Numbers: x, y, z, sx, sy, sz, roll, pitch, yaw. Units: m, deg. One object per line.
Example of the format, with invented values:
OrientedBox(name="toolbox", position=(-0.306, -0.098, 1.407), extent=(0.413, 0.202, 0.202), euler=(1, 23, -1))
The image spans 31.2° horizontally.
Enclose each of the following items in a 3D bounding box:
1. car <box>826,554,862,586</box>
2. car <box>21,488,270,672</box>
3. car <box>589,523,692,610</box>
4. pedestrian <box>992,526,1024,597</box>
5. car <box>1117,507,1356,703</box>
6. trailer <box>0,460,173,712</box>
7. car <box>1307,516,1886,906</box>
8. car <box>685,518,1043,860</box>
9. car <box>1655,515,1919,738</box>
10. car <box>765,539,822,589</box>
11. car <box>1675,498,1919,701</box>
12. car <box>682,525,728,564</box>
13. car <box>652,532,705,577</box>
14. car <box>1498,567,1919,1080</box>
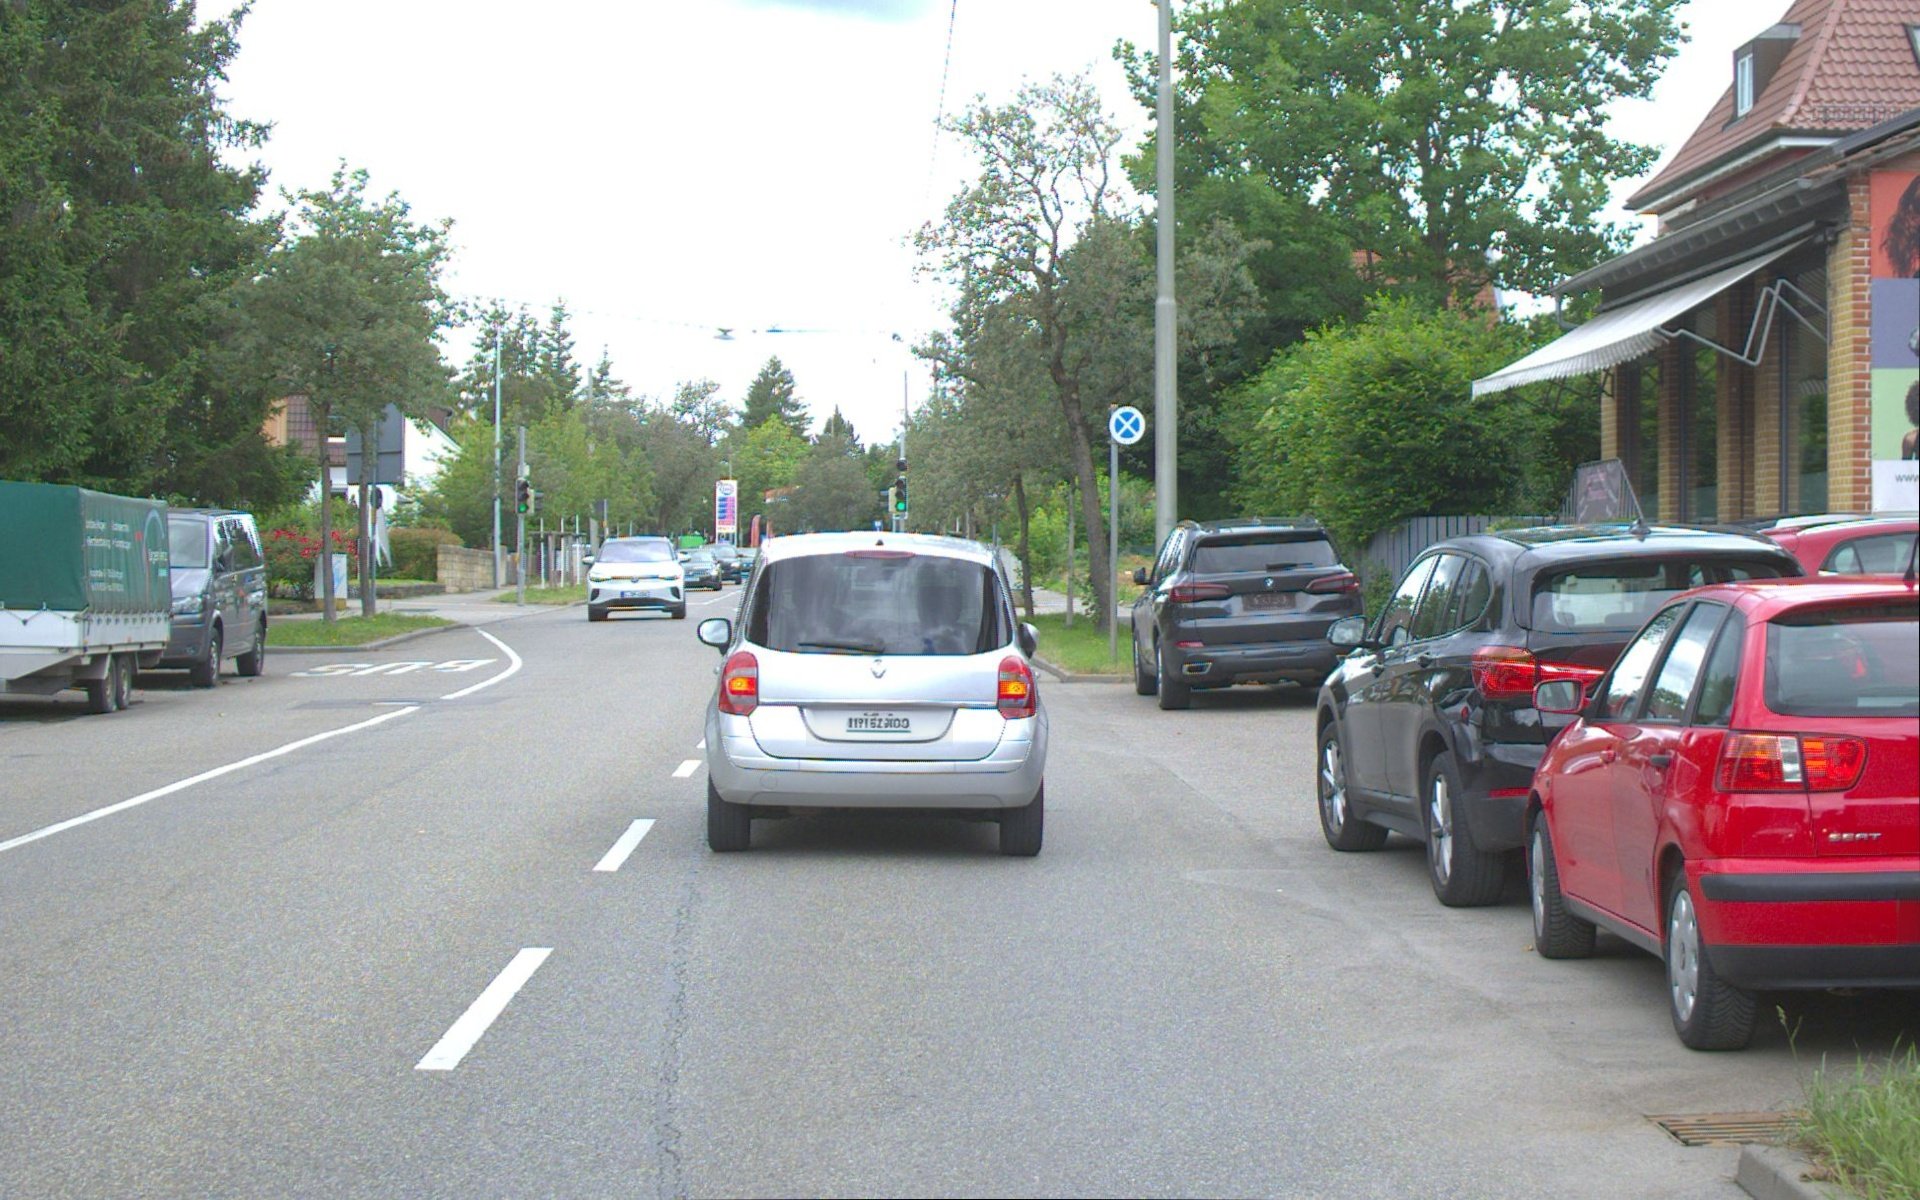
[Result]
OrientedBox(name="car", position=(-6.006, -1.560, 178.417), extent=(1.829, 1.670, 3.574), euler=(0, 1, -1))
OrientedBox(name="car", position=(-9.129, -0.218, 38.890), extent=(1.887, 1.915, 4.562), euler=(2, 0, -3))
OrientedBox(name="car", position=(-6.246, -0.646, 66.892), extent=(1.905, 1.612, 4.001), euler=(1, 0, -6))
OrientedBox(name="pedestrian", position=(1.116, -0.910, 80.537), extent=(0.705, 1.641, 0.773), euler=(0, 1, -2))
OrientedBox(name="car", position=(2.573, 0.038, 32.853), extent=(1.812, 1.737, 4.000), euler=(-1, 0, -2))
OrientedBox(name="trailer", position=(-8.897, -0.150, 31.310), extent=(2.312, 2.079, 5.873), euler=(2, 0, -3))
OrientedBox(name="car", position=(2.758, 0.404, 15.817), extent=(1.662, 1.559, 4.099), euler=(0, 1, -4))
OrientedBox(name="car", position=(-0.467, 0.414, 18.038), extent=(1.630, 1.551, 4.000), euler=(2, 0, -1))
OrientedBox(name="car", position=(7.398, 0.112, 25.411), extent=(3.986, 1.491, 1.810), euler=(-3, 1, -9))
OrientedBox(name="car", position=(-5.583, -1.209, 115.571), extent=(1.829, 1.670, 3.574), euler=(0, 1, -1))
OrientedBox(name="car", position=(8.176, -0.078, 28.704), extent=(3.986, 1.554, 1.503), euler=(-3, 1, -7))
OrientedBox(name="car", position=(-9.961, -2.152, 134.084), extent=(1.721, 1.406, 4.001), euler=(2, 0, -4))
OrientedBox(name="car", position=(-9.507, -1.526, 116.235), extent=(1.721, 1.406, 4.001), euler=(2, 0, -4))
OrientedBox(name="car", position=(2.905, 0.617, 11.550), extent=(1.662, 1.388, 3.668), euler=(-1, 1, 1))
